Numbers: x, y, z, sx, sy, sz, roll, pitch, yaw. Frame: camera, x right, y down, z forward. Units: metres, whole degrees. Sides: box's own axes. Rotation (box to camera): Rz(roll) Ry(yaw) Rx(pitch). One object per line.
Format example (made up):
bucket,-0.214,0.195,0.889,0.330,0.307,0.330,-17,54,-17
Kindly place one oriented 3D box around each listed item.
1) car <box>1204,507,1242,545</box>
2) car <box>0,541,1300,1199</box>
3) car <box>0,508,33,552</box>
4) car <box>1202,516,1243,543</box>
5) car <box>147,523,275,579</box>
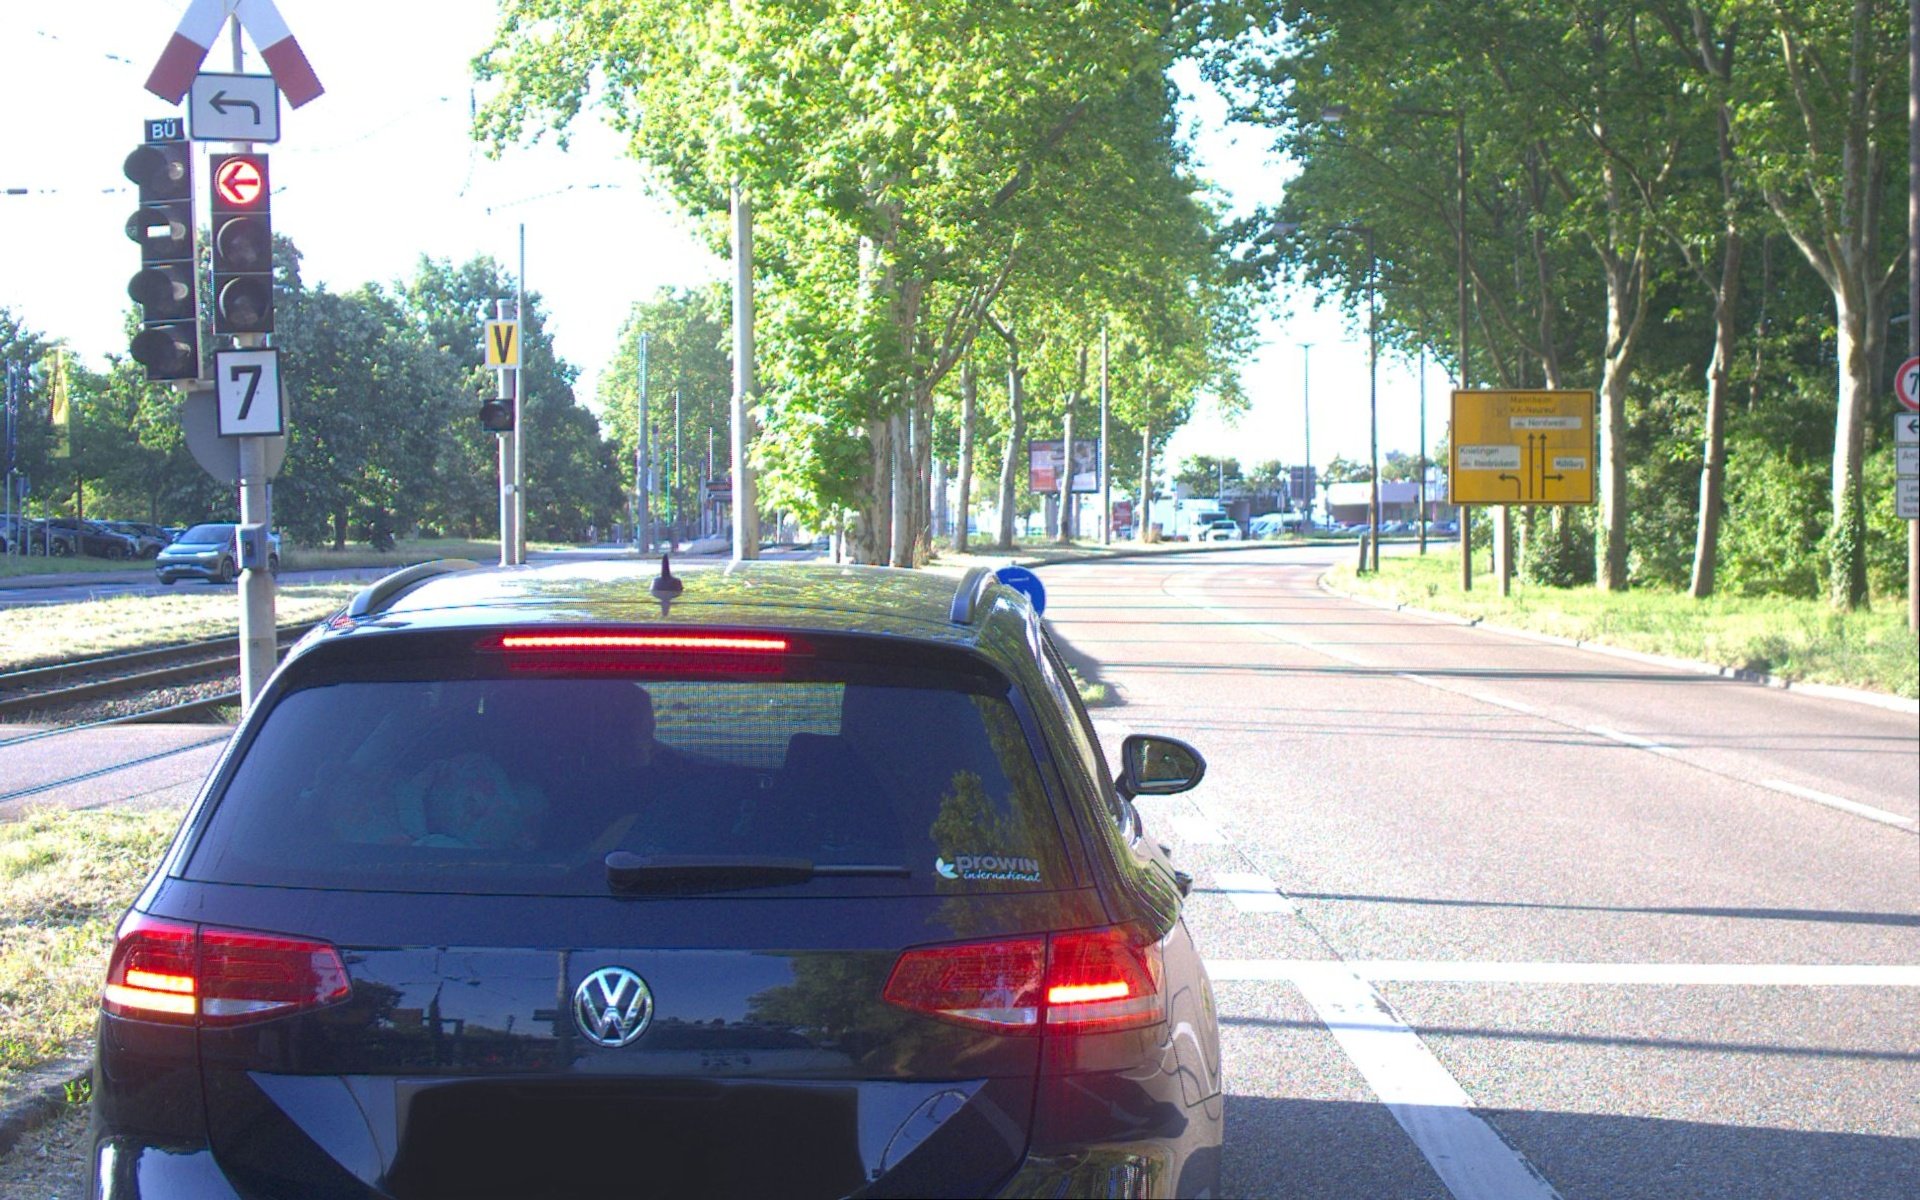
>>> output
car,17.396,-4.886,227.220,2.095,2.453,5.853,1,1,1
car,-0.481,0.636,6.420,1.795,1.459,3.583,1,1,-1
car,-35.906,-2.561,125.010,3.986,1.615,1.744,1,1,-5
car,14.938,-4.001,195.177,1.863,1.476,4.090,1,1,11
car,-20.573,-1.366,94.570,1.863,1.476,4.170,1,2,12
